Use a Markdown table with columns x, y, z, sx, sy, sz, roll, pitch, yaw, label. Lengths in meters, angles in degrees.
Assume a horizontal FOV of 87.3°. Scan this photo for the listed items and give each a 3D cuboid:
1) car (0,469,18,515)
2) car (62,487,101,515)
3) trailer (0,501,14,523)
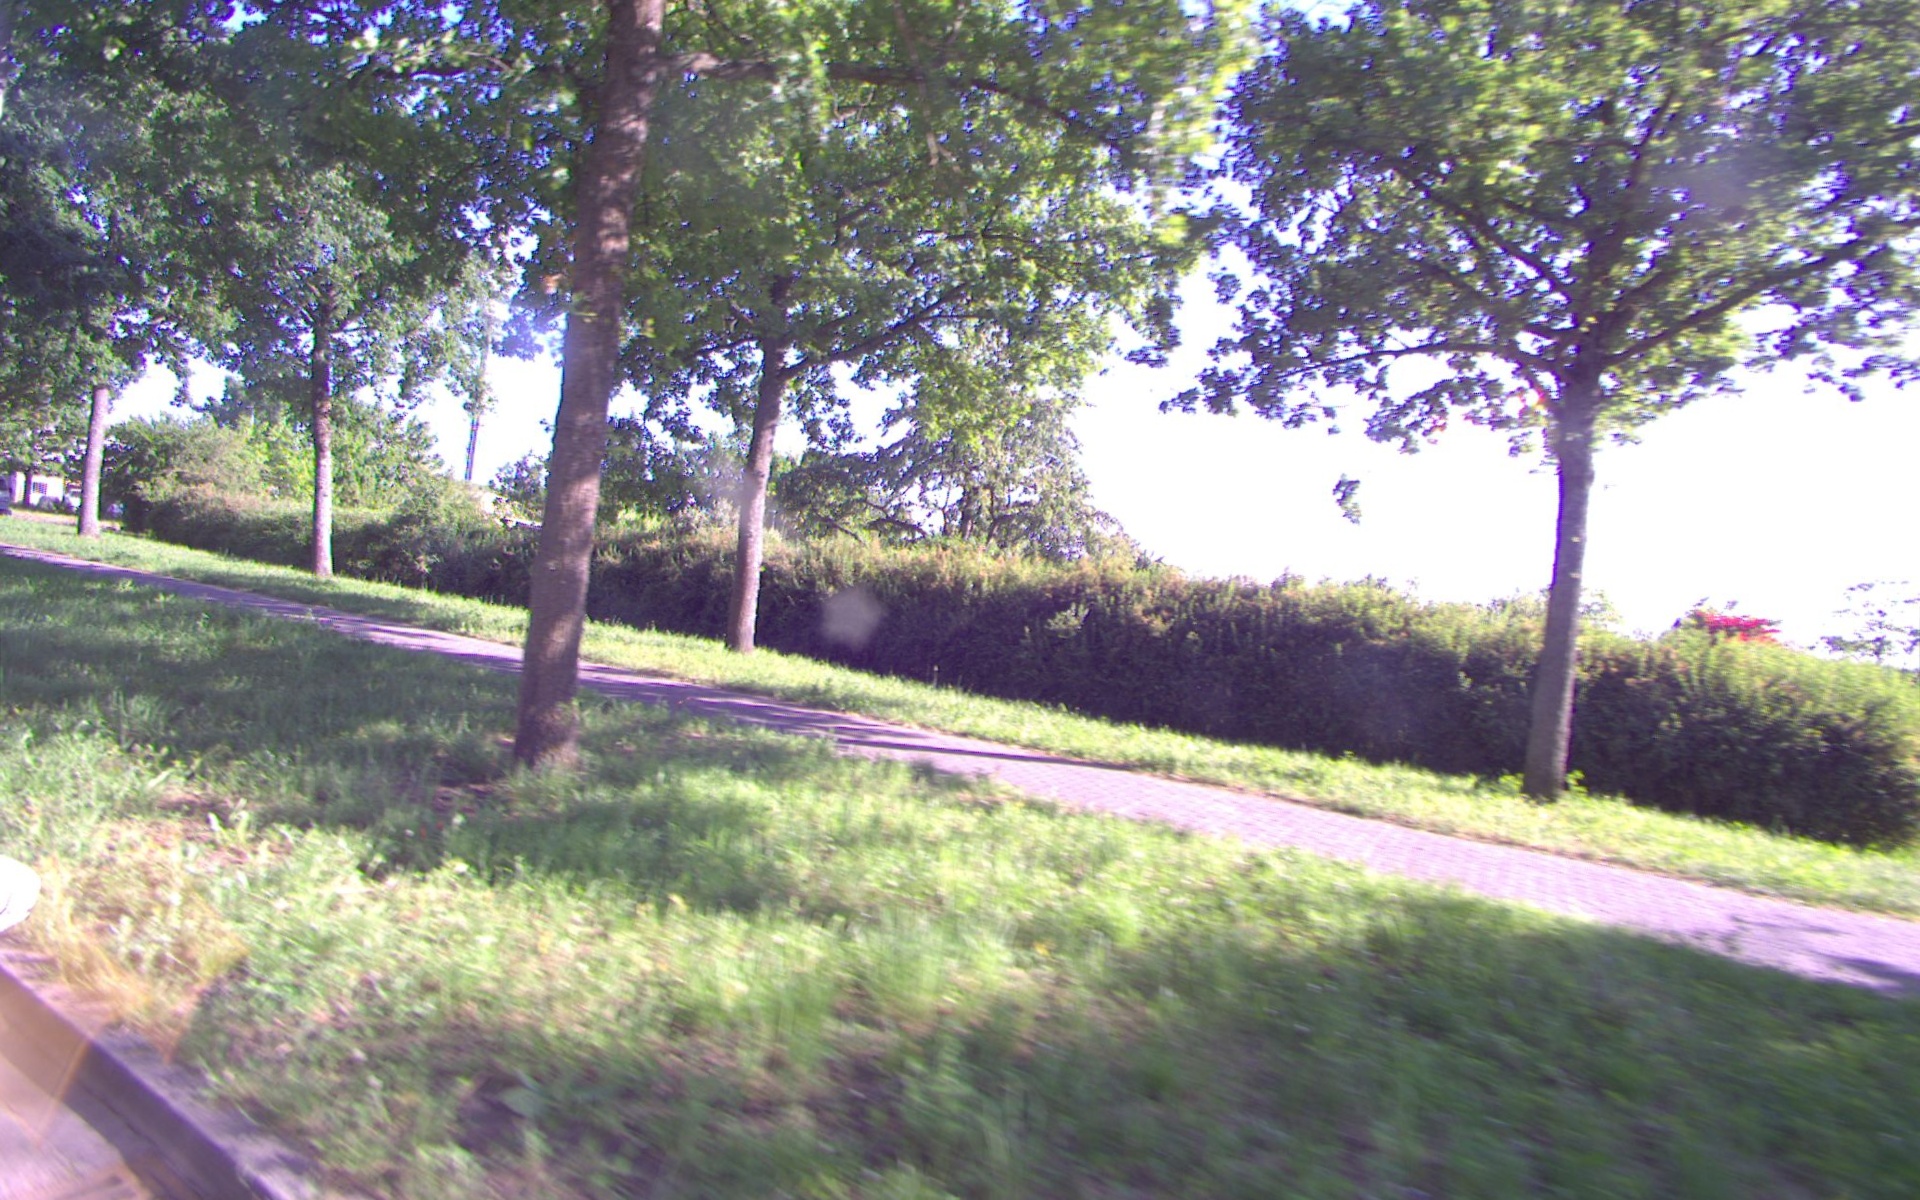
| x | y | z | sx | sy | sz | roll | pitch | yaw | label |
| --- | --- | --- | --- | --- | --- | --- | --- | --- | --- |
| -60.336 | -6.849 | 61.700 | 4.767 | 2.676 | 2.164 | 7 | 1 | 29 | car |
| -64.167 | -7.243 | 73.462 | 1.829 | 1.660 | 3.950 | 6 | 0 | -44 | car |
| -44.197 | -4.057 | 45.664 | 2.027 | 0.878 | 1.577 | 2 | -4 | 40 | trailer |
